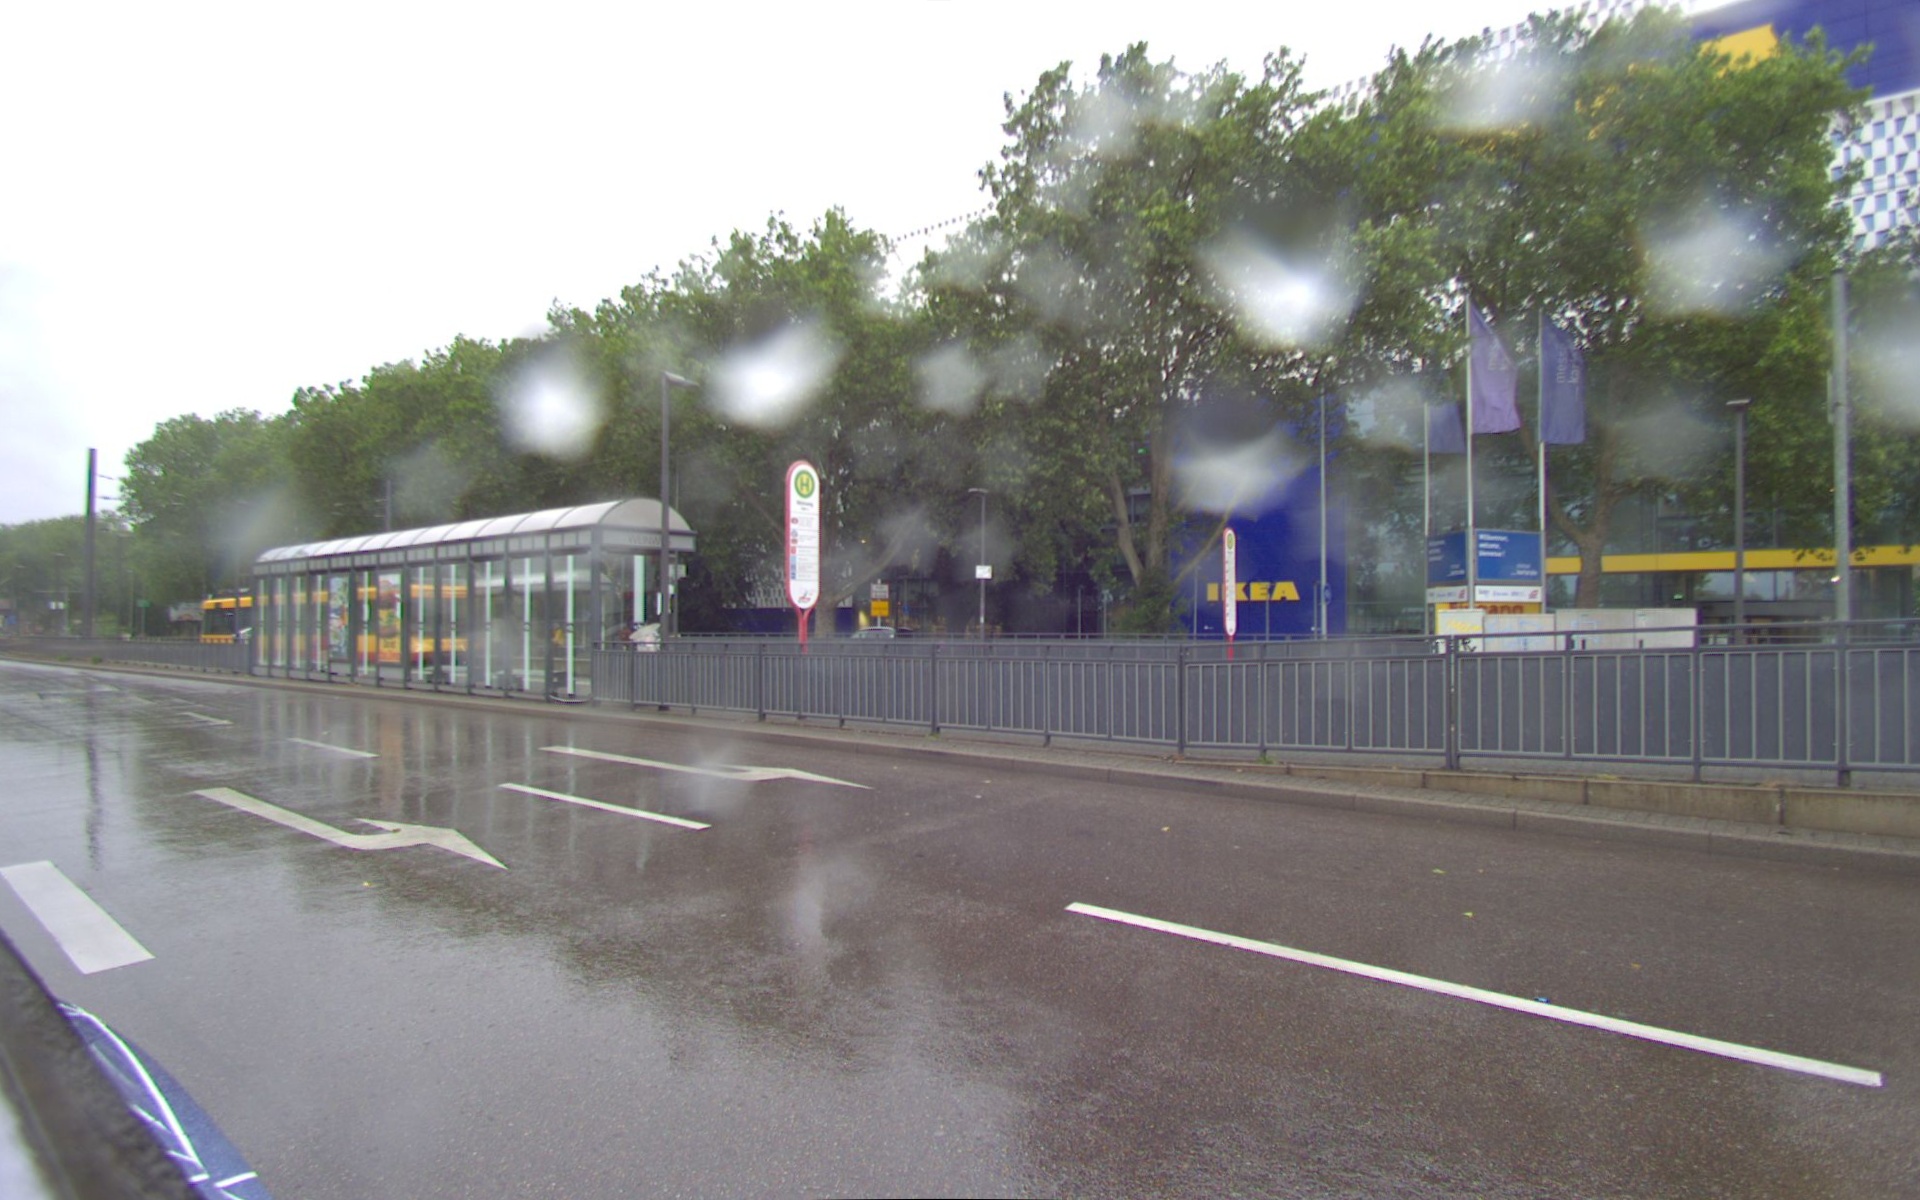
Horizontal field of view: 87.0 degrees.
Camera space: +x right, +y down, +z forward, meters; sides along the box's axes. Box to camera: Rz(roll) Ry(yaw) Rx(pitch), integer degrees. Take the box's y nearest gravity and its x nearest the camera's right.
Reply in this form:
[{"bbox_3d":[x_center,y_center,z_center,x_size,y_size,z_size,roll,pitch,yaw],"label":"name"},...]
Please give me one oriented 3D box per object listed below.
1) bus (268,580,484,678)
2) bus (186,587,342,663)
[{"bbox_3d":[-23.900,1.060,40.696,15.057,3.354,2.900,-1,0,41],"label":"bus"},{"bbox_3d":[-35.232,1.180,50.763,15.057,3.354,2.900,-1,0,42],"label":"bus"}]
